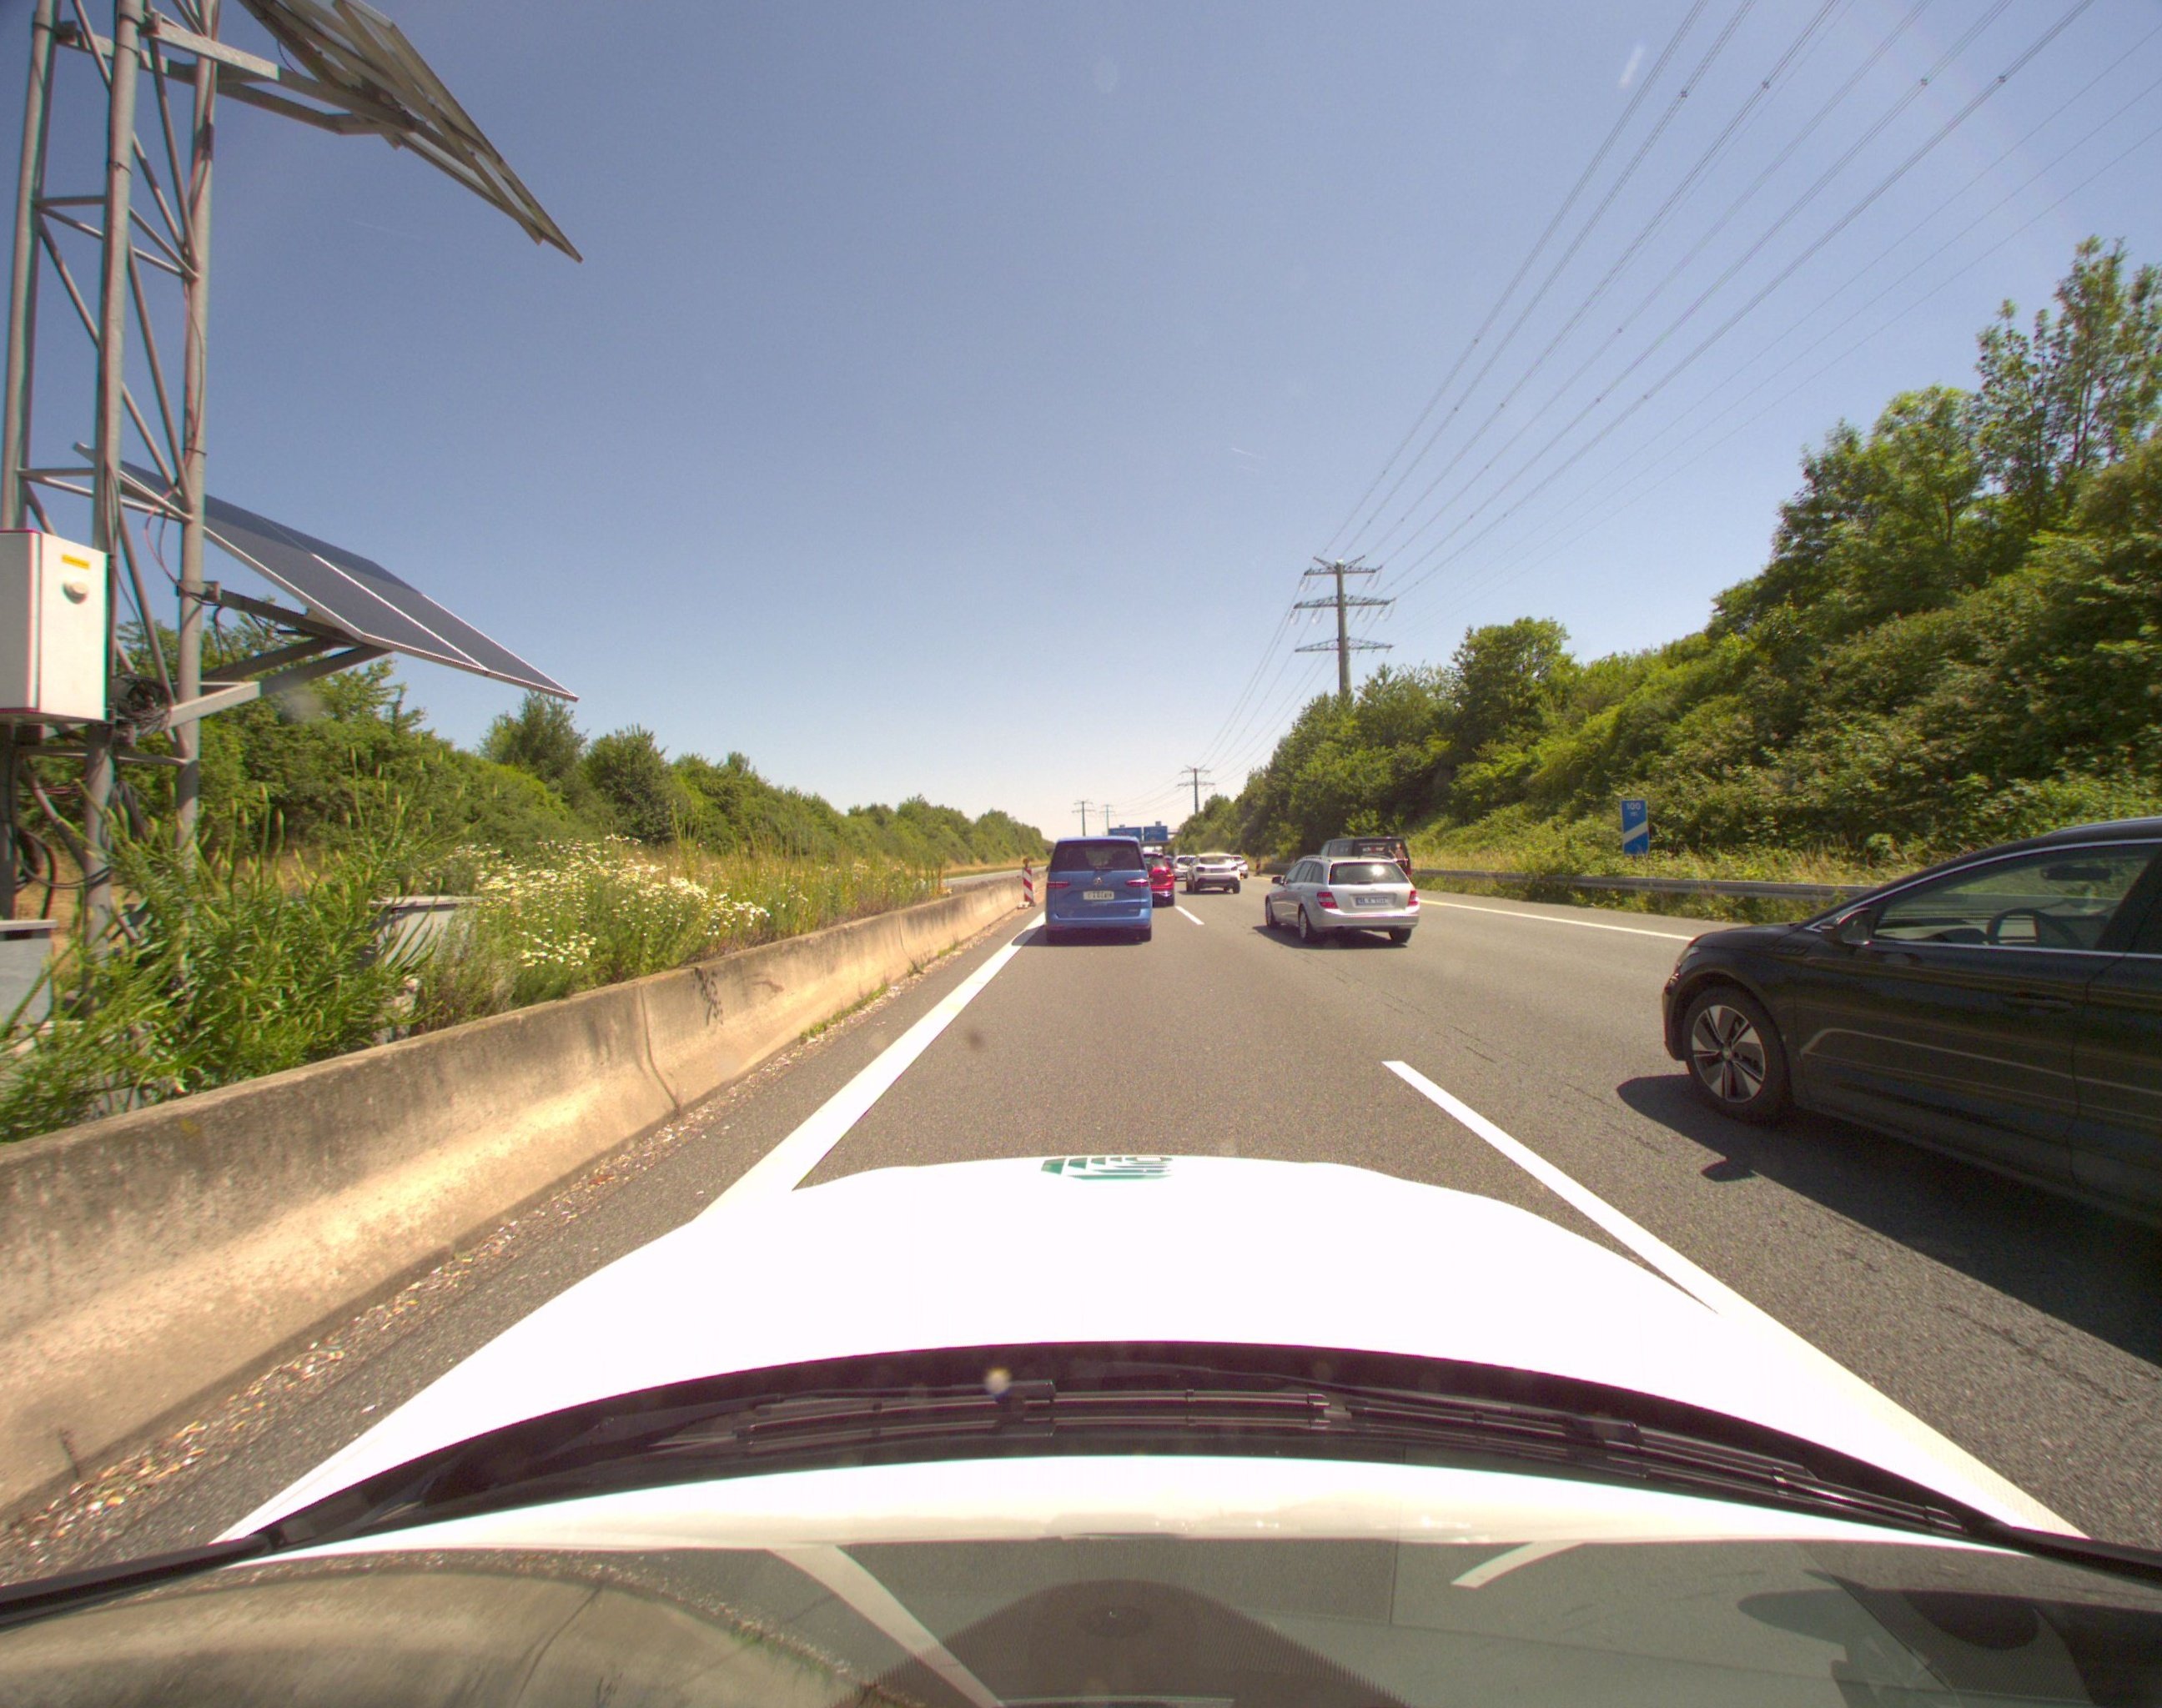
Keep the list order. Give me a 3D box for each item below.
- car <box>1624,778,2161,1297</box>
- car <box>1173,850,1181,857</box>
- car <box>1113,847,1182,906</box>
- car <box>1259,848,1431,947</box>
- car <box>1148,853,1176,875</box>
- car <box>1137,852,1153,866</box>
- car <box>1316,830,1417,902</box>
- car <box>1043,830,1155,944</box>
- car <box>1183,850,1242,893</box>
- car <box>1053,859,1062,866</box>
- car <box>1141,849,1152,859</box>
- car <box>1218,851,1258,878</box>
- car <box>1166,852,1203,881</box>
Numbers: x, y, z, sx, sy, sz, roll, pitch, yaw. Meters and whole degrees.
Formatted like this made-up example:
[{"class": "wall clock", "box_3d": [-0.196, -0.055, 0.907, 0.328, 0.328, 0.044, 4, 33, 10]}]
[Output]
[{"class": "car", "box_3d": [4.294, 0.583, 2.996, 1.695, 1.655, 4.430, 0, 0, 1]}, {"class": "car", "box_3d": [25.349, -0.142, 214.940, 1.868, 1.671, 4.360, 0, 0, 1]}, {"class": "car", "box_3d": [1.963, 0.645, 25.258, 1.868, 1.671, 4.360, 0, 0, 1]}, {"class": "car", "box_3d": [4.541, 0.690, 14.718, 1.764, 1.517, 4.360, 0, 0, 1]}, {"class": "car", "box_3d": [5.946, 0.712, 60.066, 1.791, 1.594, 4.228, 0, 0, 2]}, {"class": "car", "box_3d": [7.761, 0.622, 98.728, 1.791, 1.594, 4.228, 0, 0, 2]}, {"class": "car", "box_3d": [8.654, 0.342, 25.053, 1.790, 2.014, 4.230, 0, 0, 3]}, {"class": "car", "box_3d": [0.345, 0.570, 15.866, 1.868, 1.912, 4.360, 0, 0, 1]}, {"class": "car", "box_3d": [5.146, 0.678, 32.348, 1.791, 1.594, 4.228, 0, 0, 2]}, {"class": "car", "box_3d": [-6.430, 2.284, 225.030, 1.986, 1.650, 4.632, -4, 0, 2]}, {"class": "car", "box_3d": [15.925, -0.081, 198.300, 2.368, 2.428, 4.228, 0, -1, 2]}, {"class": "car", "box_3d": [9.709, 0.644, 50.730, 1.791, 1.594, 4.228, 0, 0, 2]}, {"class": "car", "box_3d": [6.087, 0.719, 48.151, 1.791, 1.594, 4.228, 0, 0, 2]}]
